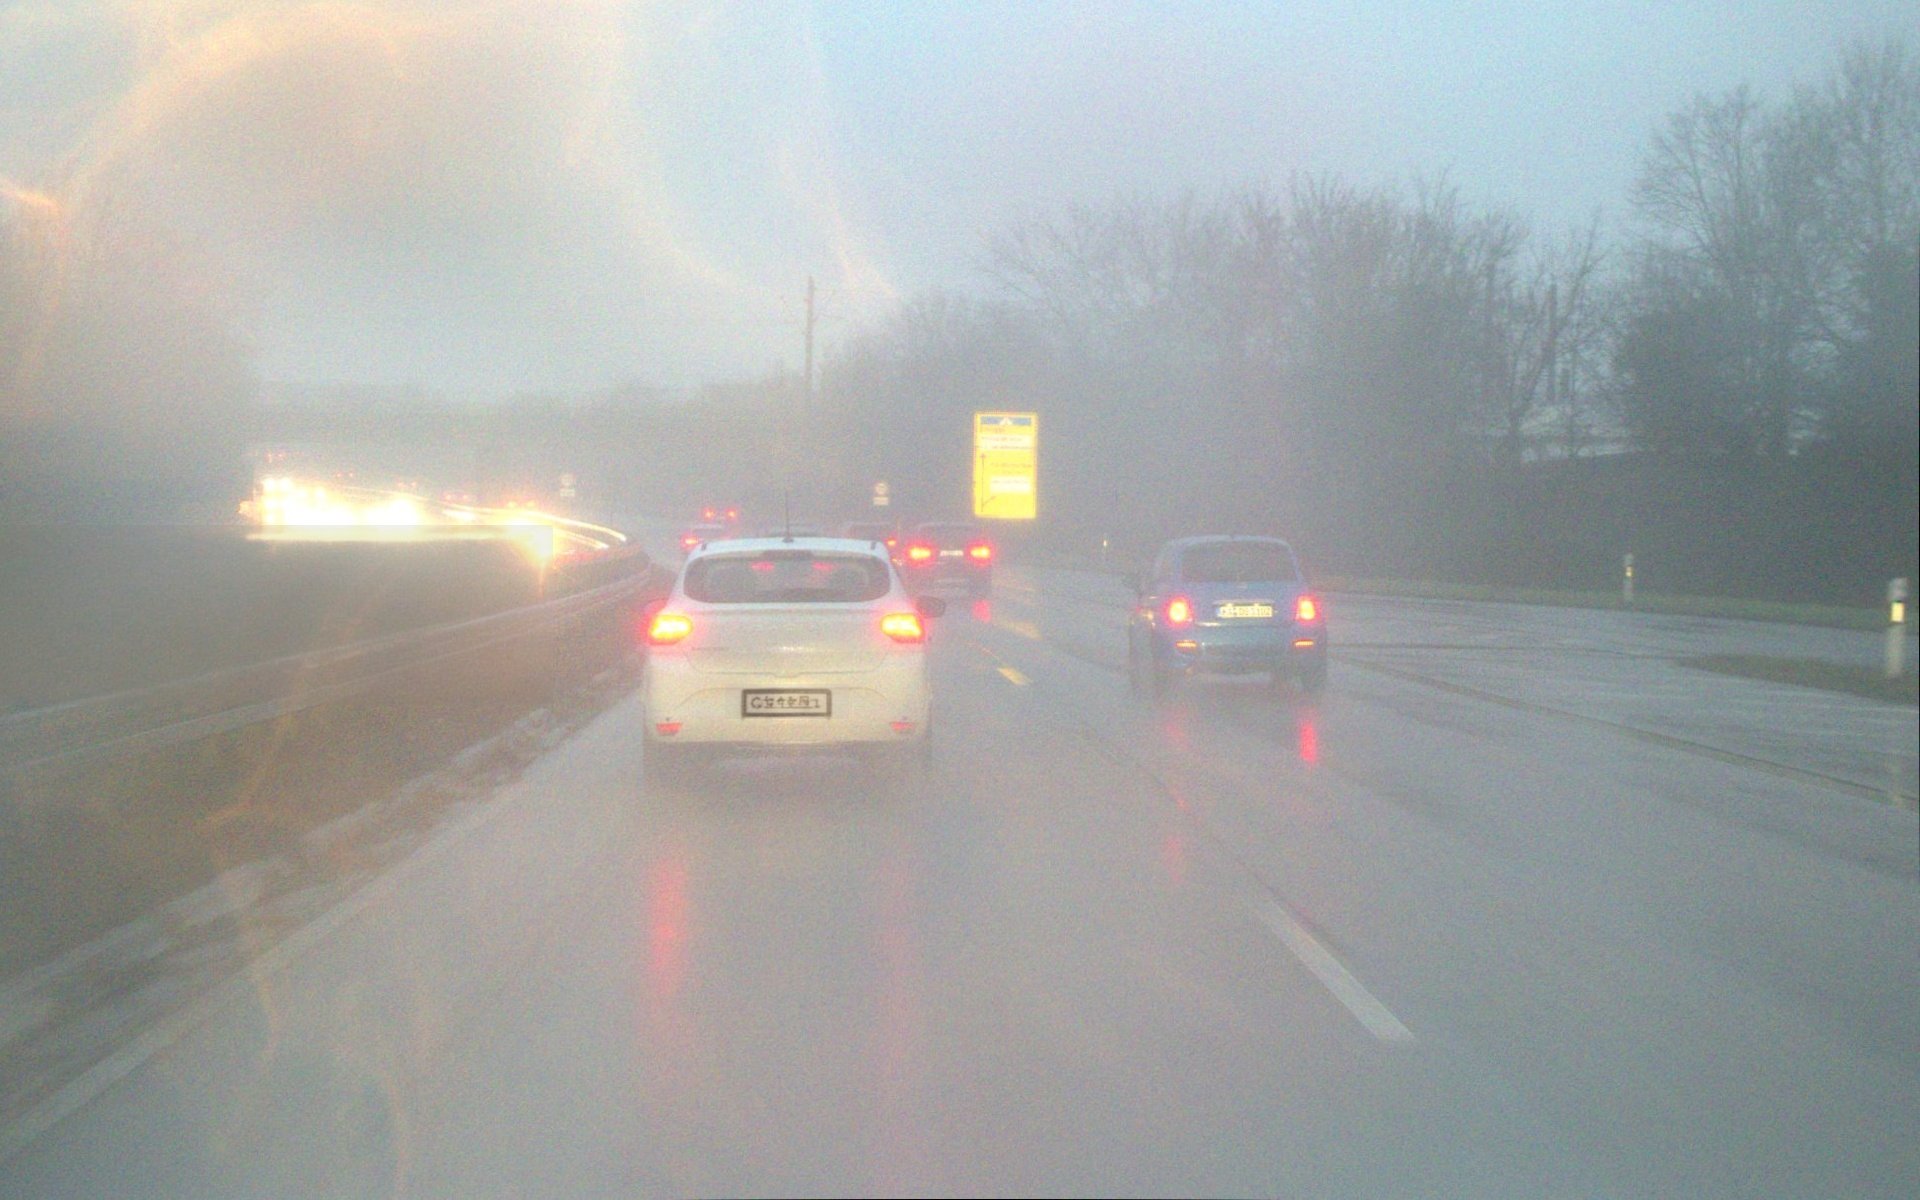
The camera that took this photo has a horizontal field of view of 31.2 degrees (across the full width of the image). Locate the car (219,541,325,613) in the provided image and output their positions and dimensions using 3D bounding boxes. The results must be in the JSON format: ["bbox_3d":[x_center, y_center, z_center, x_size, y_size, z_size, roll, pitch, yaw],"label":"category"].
[{"bbox_3d":[-15.594,-0.543,78.105,1.703,1.561,4.851,1,1,-3],"label":"car"}]

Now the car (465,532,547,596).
[{"bbox_3d":[-10.950,-0.888,83.126,1.616,1.479,4.600,1,1,-3],"label":"car"}]

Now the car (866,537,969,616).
[{"bbox_3d":[-0.962,-0.508,75.725,1.932,1.541,3.774,-5,0,-4],"label":"car"}]

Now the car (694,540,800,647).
[{"bbox_3d":[-4.152,-0.151,67.277,1.993,2.007,4.001,1,1,-3],"label":"car"}]

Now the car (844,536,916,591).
[{"bbox_3d":[-2.312,-1.054,98.350,1.932,1.541,3.774,1,1,-3],"label":"car"}]

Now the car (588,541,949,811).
[{"bbox_3d":[-1.138,0.415,22.302,2.025,1.569,4.000,1,1,1],"label":"car"}]

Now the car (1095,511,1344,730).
[{"bbox_3d":[2.486,0.159,33.800,1.932,2.012,3.774,1,1,-3],"label":"car"}]
